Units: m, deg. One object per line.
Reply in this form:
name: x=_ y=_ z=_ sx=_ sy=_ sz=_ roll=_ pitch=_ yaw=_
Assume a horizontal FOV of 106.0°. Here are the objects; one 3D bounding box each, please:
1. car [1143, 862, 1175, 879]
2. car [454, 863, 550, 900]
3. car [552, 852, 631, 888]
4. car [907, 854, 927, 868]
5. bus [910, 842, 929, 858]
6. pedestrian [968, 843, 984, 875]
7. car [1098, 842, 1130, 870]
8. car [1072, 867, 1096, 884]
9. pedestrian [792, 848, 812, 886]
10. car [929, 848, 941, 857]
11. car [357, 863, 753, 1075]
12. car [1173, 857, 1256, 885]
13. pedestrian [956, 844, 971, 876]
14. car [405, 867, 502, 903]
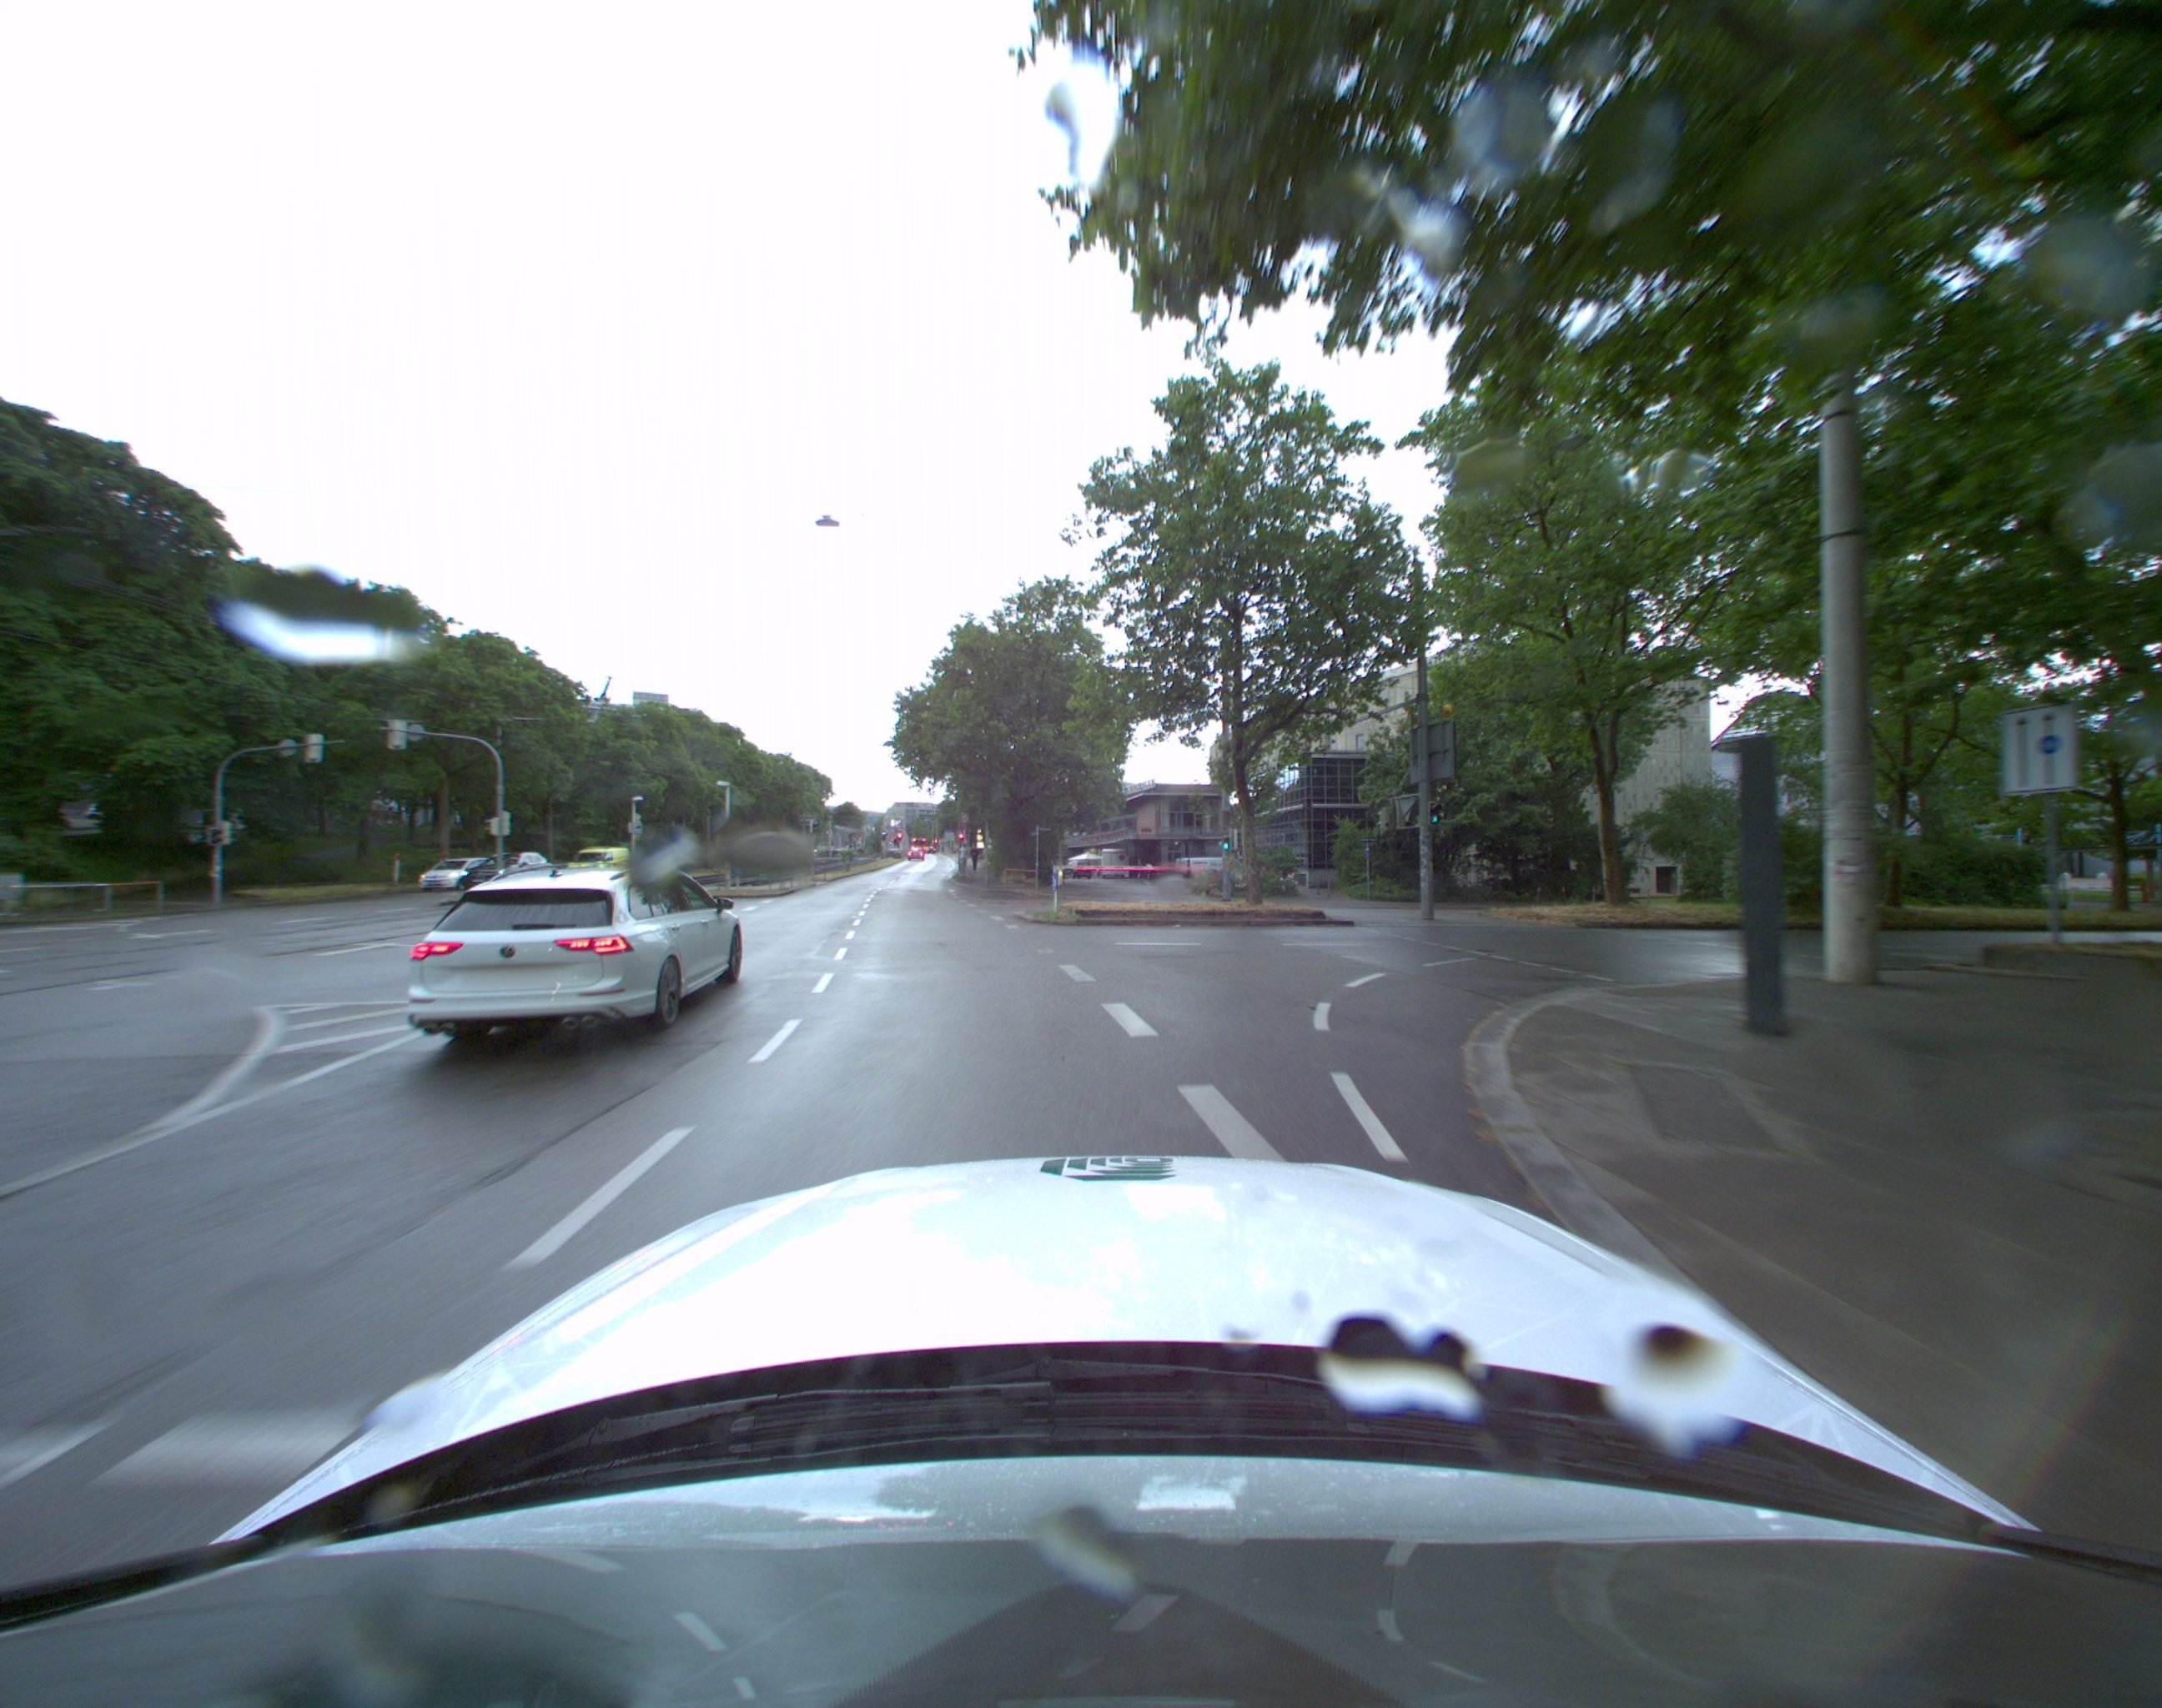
car: x=7.709 y=1.606 z=80.648 sx=2.020 sy=1.551 sz=4.334 roll=0 pitch=0 yaw=-11
car: x=-26.095 y=1.204 z=36.852 sx=1.917 sy=1.546 sz=3.674 roll=-1 pitch=0 yaw=-6
car: x=-26.987 y=0.832 z=45.092 sx=1.917 sy=1.851 sz=4.558 roll=-1 pitch=0 yaw=-6
car: x=-18.861 y=0.829 z=93.940 sx=1.993 sy=1.519 sz=4.336 roll=-3 pitch=0 yaw=-9
bus: x=-33.457 y=-0.773 z=168.747 sx=3.592 sy=3.171 sz=10.380 roll=-3 pitch=0 yaw=-11
pedestrian: x=-6.767 y=0.306 z=52.554 sx=0.873 sy=2.013 sz=1.075 roll=-2 pitch=0 yaw=-6
car: x=3.282 y=0.190 z=82.949 sx=2.725 sy=2.695 sz=6.916 roll=0 pitch=0 yaw=-2
car: x=0.297 y=2.050 z=79.516 sx=2.010 sy=1.551 sz=4.355 roll=0 pitch=0 yaw=4
pedestrian: x=-13.701 y=0.632 z=40.075 sx=0.871 sy=1.802 sz=0.863 roll=0 pitch=0 yaw=-16
car: x=-31.138 y=-0.219 z=173.680 sx=2.364 sy=1.817 sz=5.164 roll=-3 pitch=0 yaw=-11
car: x=-4.753 y=0.871 z=8.251 sx=1.797 sy=1.442 sz=4.457 roll=-3 pitch=-1 yaw=-11
car: x=8.783 y=1.076 z=53.589 sx=5.222 sy=1.731 sz=1.860 roll=0 pitch=0 yaw=-23
pedestrian: x=-7.577 y=0.359 z=52.353 sx=0.813 sy=2.013 sz=1.075 roll=-2 pitch=0 yaw=-6
car: x=-29.455 y=1.420 z=38.396 sx=1.917 sy=1.546 sz=3.674 roll=-1 pitch=0 yaw=-6
